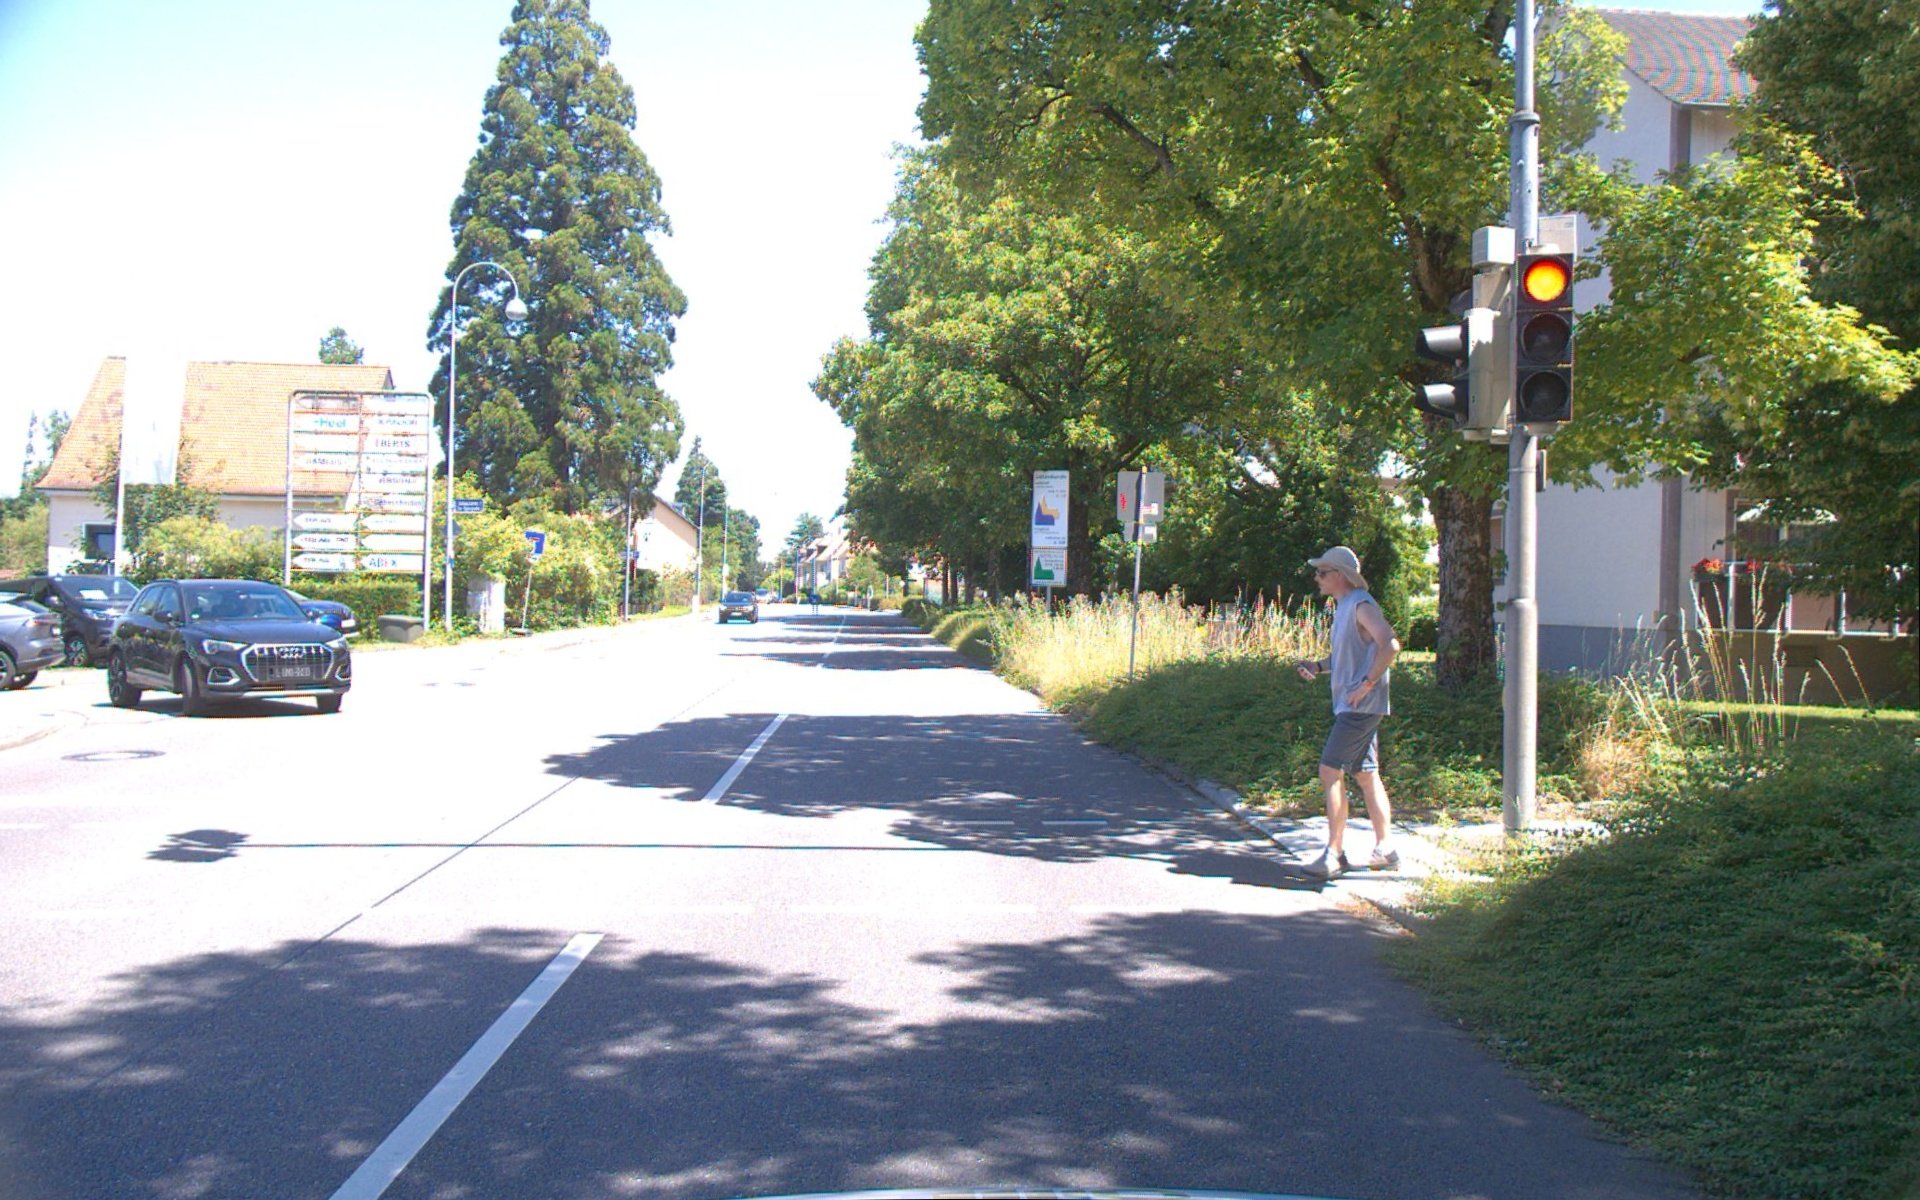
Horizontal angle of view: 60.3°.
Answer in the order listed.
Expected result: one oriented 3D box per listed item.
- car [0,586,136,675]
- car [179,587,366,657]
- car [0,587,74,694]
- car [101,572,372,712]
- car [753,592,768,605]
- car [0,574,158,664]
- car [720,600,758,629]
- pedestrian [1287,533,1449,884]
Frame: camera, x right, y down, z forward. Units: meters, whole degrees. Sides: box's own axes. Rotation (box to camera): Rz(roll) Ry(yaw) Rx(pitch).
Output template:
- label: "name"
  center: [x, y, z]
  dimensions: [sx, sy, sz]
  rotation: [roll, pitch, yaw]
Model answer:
- label: "car"
  center: [-17.845, 0.573, 31.604]
  dimensions: [3.426, 1.645, 1.597]
  rotation: [0, 0, -9]
- label: "car"
  center: [-14.830, 0.457, 35.820]
  dimensions: [3.425, 1.452, 1.598]
  rotation: [0, 0, -8]
- label: "car"
  center: [-17.315, 0.639, 27.547]
  dimensions: [4.233, 1.747, 1.874]
  rotation: [1, 0, -21]
- label: "car"
  center: [-9.060, 0.498, 20.536]
  dimensions: [1.912, 1.553, 4.242]
  rotation: [0, -1, -41]
- label: "car"
  center: [-23.160, -0.199, 191.759]
  dimensions: [1.525, 1.473, 3.786]
  rotation: [1, 0, -5]
- label: "car"
  center: [-18.163, 0.380, 33.511]
  dimensions: [3.089, 1.744, 1.569]
  rotation: [1, 0, -11]
- label: "car"
  center: [-10.655, 0.670, 79.742]
  dimensions: [1.402, 1.345, 3.354]
  rotation: [1, 0, -1]
- label: "pedestrian"
  center: [2.171, 0.553, 8.811]
  dimensions: [0.556, 1.781, 0.607]
  rotation: [1, -1, -37]
